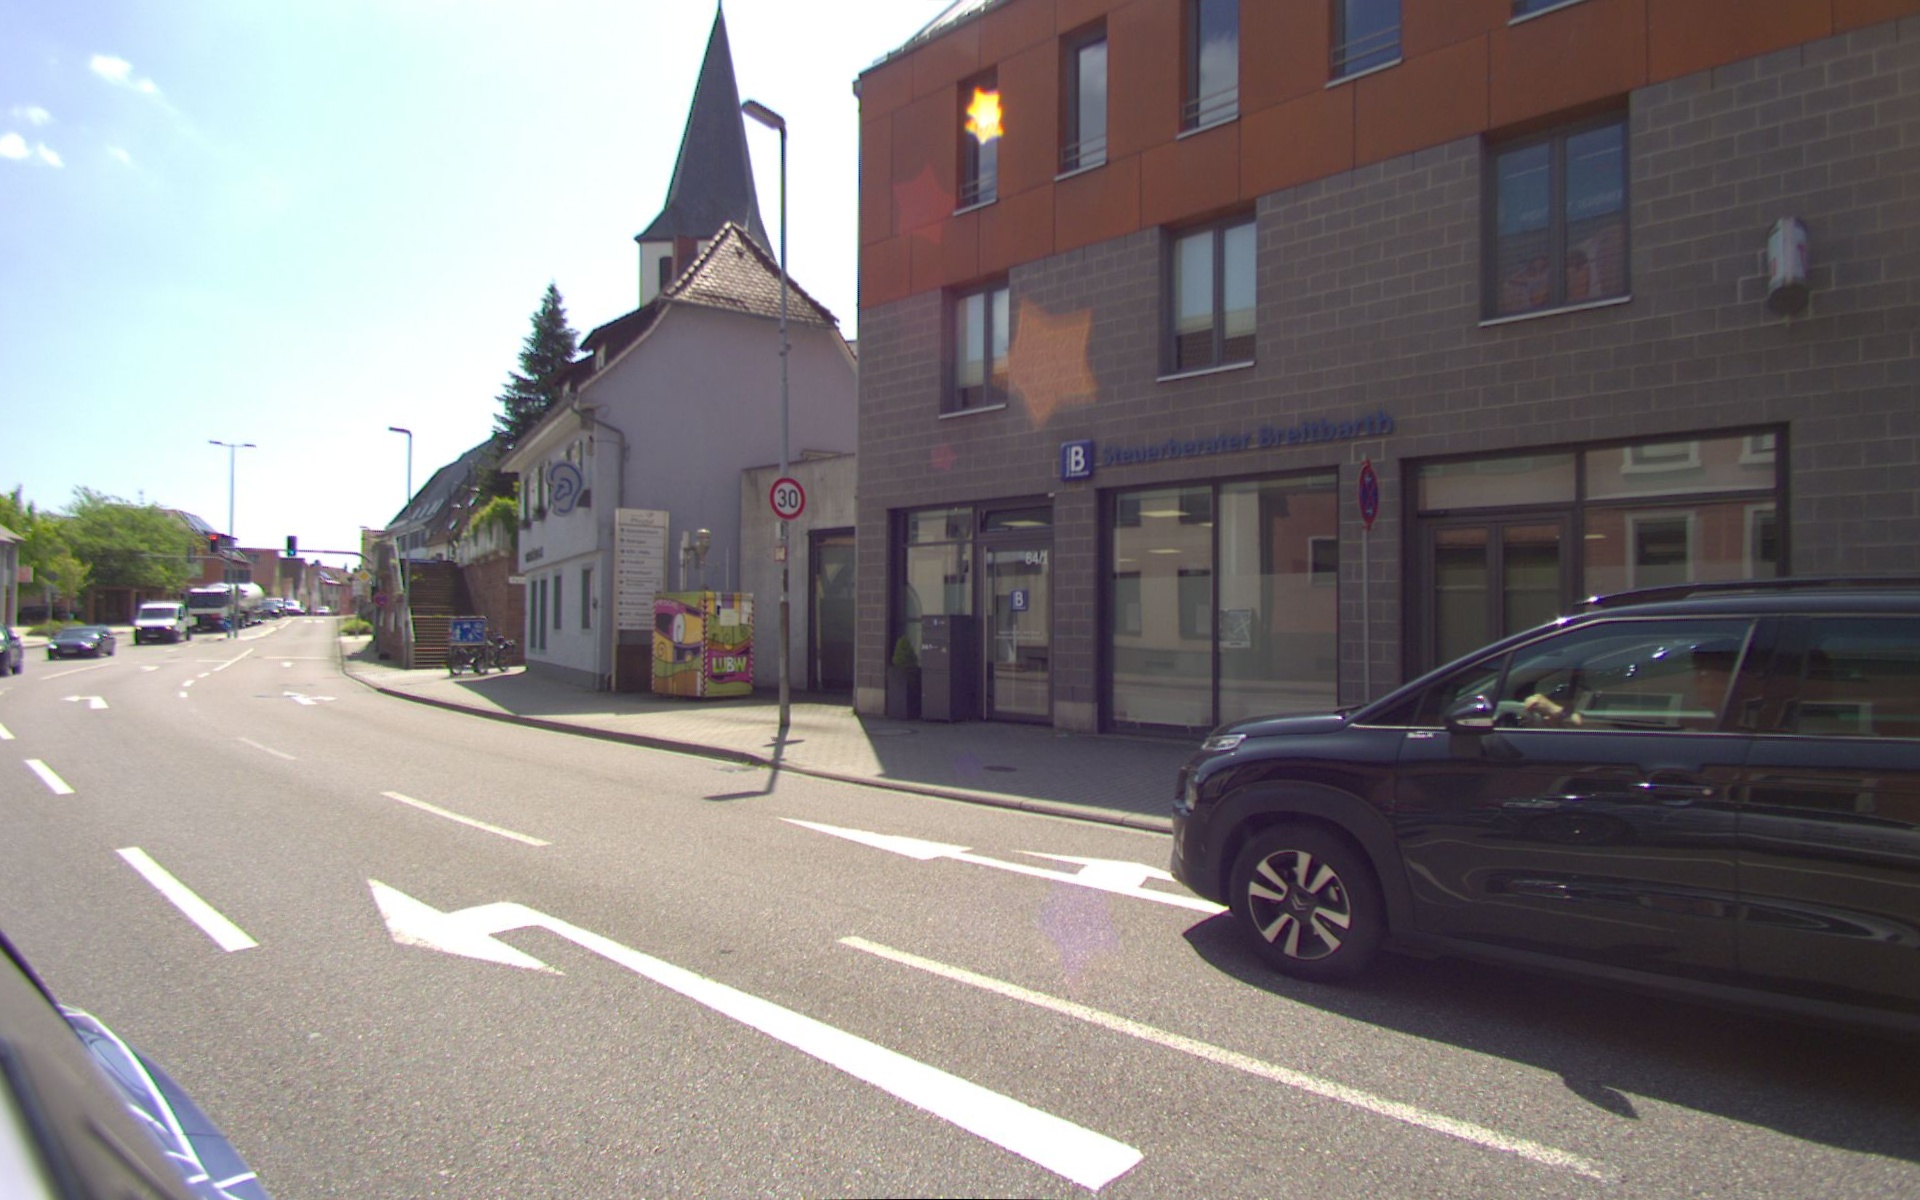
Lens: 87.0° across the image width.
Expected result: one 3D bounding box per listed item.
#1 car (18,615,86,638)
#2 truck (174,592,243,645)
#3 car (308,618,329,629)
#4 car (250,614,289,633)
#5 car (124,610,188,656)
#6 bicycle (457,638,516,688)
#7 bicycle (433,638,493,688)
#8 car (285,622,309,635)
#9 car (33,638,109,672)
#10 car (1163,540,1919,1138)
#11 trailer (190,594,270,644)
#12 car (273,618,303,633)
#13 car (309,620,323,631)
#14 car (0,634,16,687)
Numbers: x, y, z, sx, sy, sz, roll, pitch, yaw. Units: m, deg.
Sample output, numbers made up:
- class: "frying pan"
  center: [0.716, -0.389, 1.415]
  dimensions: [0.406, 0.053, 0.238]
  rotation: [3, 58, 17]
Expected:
- class: "car"
  center: [-70.349, 2.063, 78.494]
  dimensions: [3.699, 1.723, 1.729]
  rotation: [0, -1, -33]
- class: "truck"
  center: [-53.868, 1.382, 72.683]
  dimensions: [2.800, 3.597, 5.486]
  rotation: [2, -3, -24]
- class: "car"
  center: [-99.475, 3.661, 156.981]
  dimensions: [1.978, 1.643, 4.592]
  rotation: [1, -3, -22]
- class: "car"
  center: [-63.797, 2.193, 93.588]
  dimensions: [1.978, 1.643, 4.592]
  rotation: [1, -3, -22]
- class: "car"
  center: [-47.575, 1.970, 59.983]
  dimensions: [2.139, 2.583, 4.839]
  rotation: [2, -3, -30]
- class: "bicycle"
  center: [-12.987, 1.697, 27.804]
  dimensions: [0.571, 1.258, 1.828]
  rotation: [-3, -1, 5]
- class: "bicycle"
  center: [-13.632, 1.699, 27.802]
  dimensions: [0.571, 1.258, 1.828]
  rotation: [-3, -1, 5]
- class: "car"
  center: [-87.185, 3.774, 133.066]
  dimensions: [1.978, 1.643, 4.592]
  rotation: [2, -3, -25]
- class: "car"
  center: [-39.721, 2.426, 45.309]
  dimensions: [1.898, 1.376, 4.315]
  rotation: [0, -2, -32]
- class: "car"
  center: [2.934, 0.705, 3.741]
  dimensions: [4.016, 1.670, 1.652]
  rotation: [-2, -3, 42]
- class: "trailer"
  center: [-56.635, 1.563, 78.780]
  dimensions: [2.790, 3.597, 11.000]
  rotation: [2, -3, -24]
- class: "car"
  center: [-80.066, 3.061, 120.665]
  dimensions: [1.978, 1.643, 4.592]
  rotation: [1, -3, -21]
- class: "car"
  center: [-106.980, 4.265, 168.190]
  dimensions: [1.737, 1.799, 4.012]
  rotation: [1, -2, -30]
- class: "car"
  center: [-29.796, 1.829, 30.371]
  dimensions: [1.698, 1.562, 4.312]
  rotation: [0, -2, -37]
